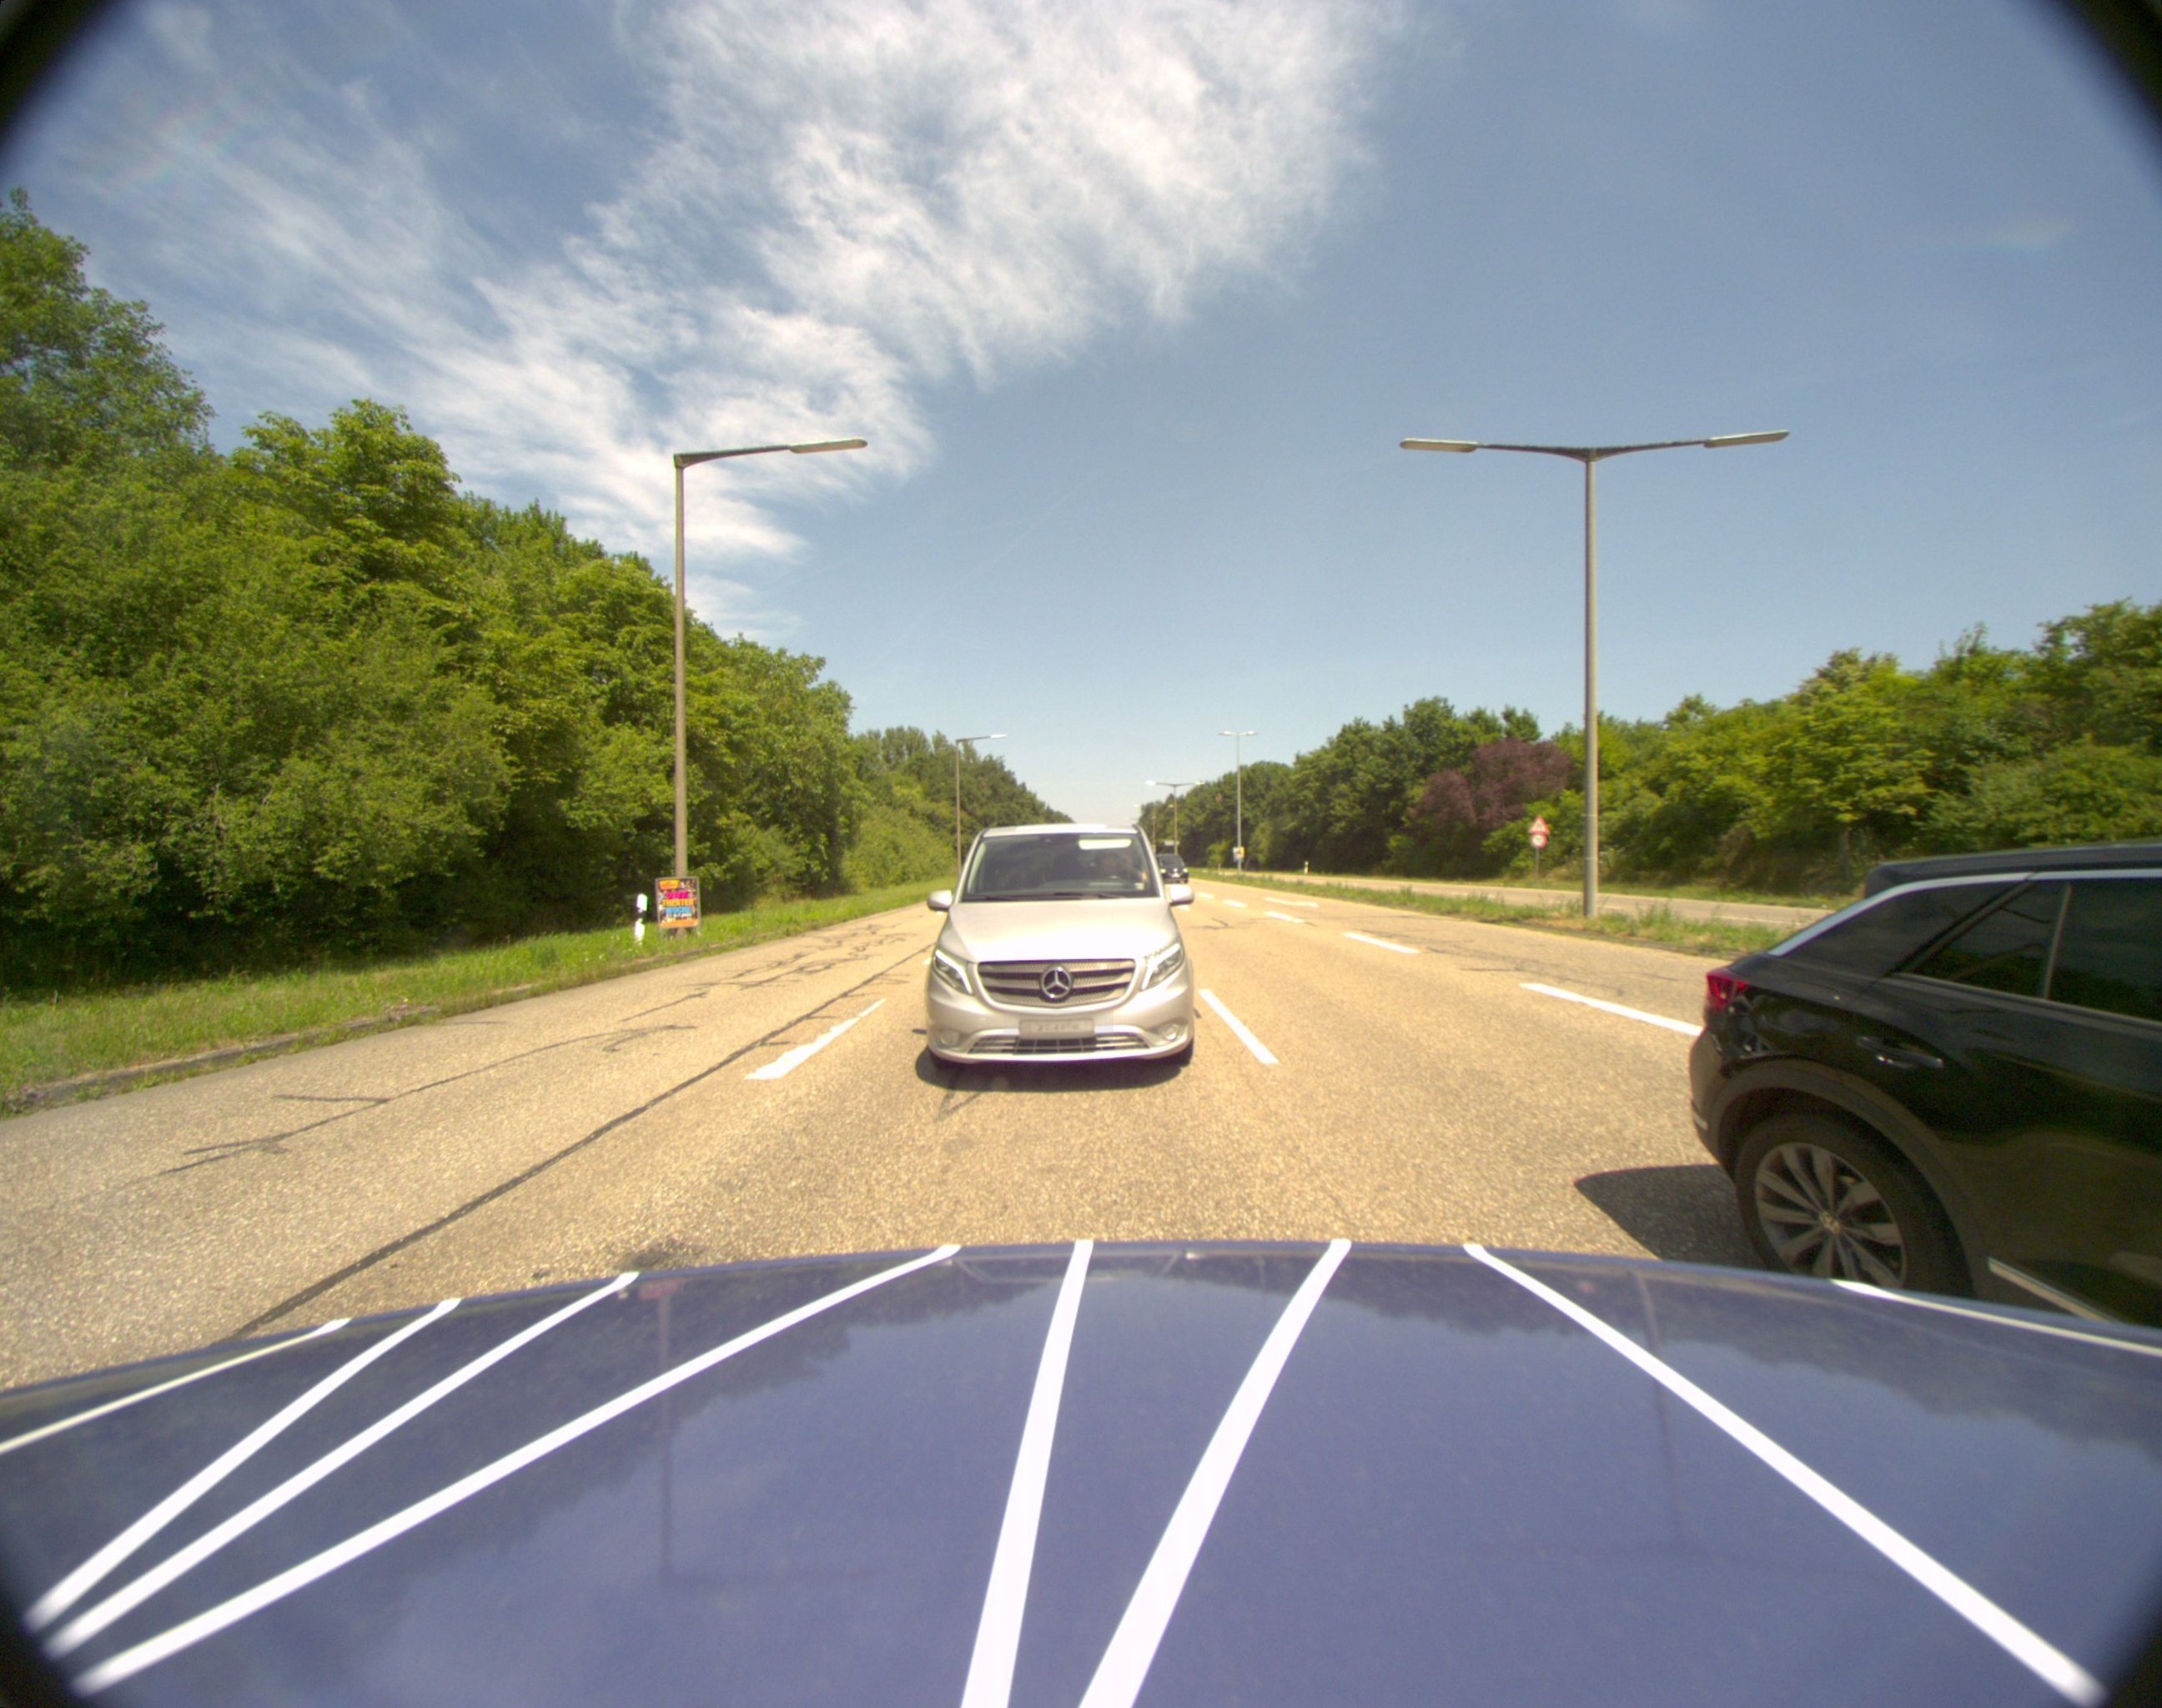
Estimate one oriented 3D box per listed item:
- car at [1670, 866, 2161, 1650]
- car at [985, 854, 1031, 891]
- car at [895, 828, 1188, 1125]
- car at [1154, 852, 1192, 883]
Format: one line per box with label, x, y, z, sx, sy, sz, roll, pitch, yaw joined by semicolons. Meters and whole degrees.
car;3.037;0.850;0.821;1.739;1.503;3.970;-2;1;1
car;-3.843;0.936;40.558;1.865;1.807;4.908;-2;0;1
car;-0.212;0.767;7.167;1.764;1.794;4.855;-2;0;1
car;5.656;0.787;47.124;1.736;1.815;4.321;-1;0;-1
